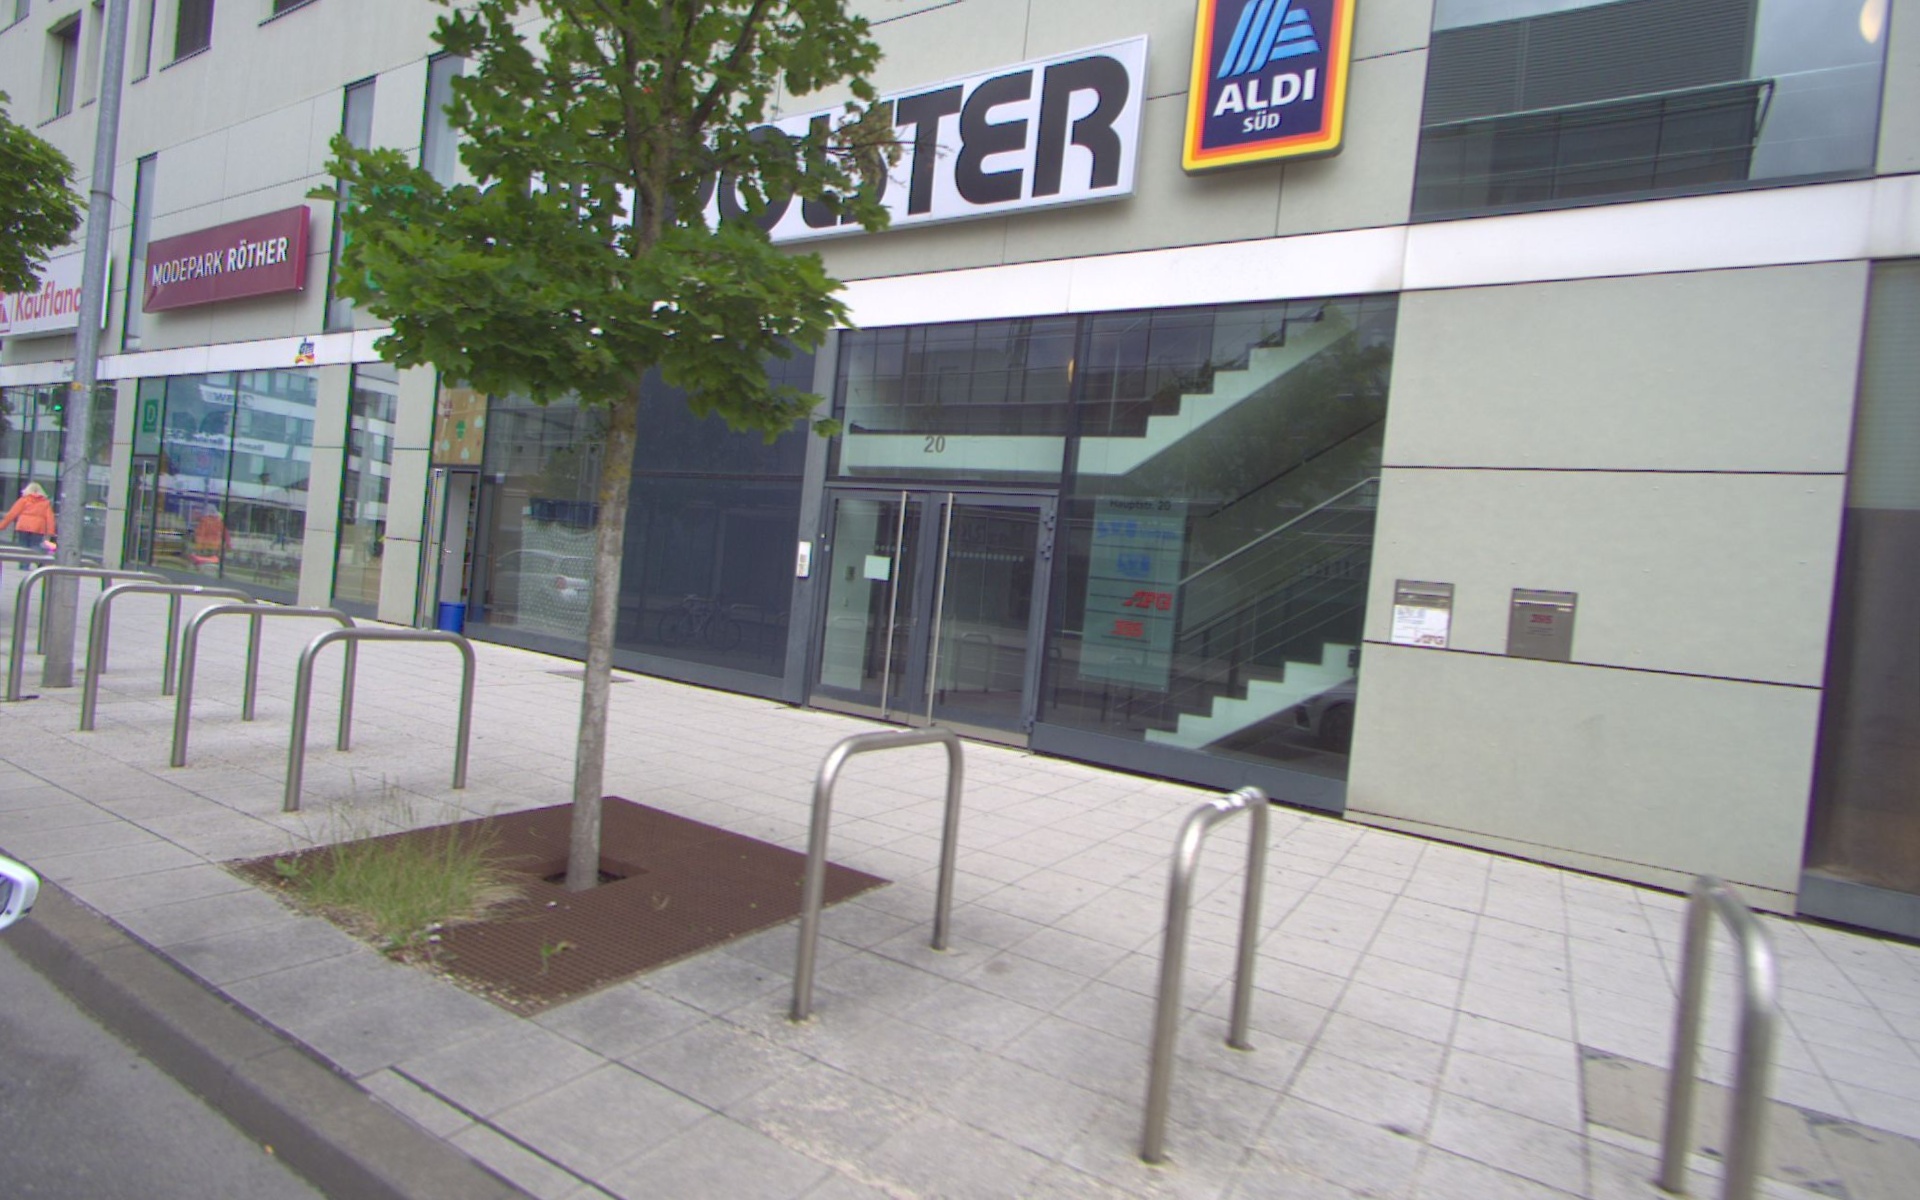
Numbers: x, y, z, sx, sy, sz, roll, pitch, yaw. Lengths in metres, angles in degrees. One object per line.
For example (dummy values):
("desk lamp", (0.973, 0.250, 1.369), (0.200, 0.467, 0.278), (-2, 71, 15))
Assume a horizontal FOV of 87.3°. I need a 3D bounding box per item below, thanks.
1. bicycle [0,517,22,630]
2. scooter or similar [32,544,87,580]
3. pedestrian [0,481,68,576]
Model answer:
("bicycle", (-10.072, -0.327, 9.326), (0.739, 1.088, 1.827), (7, 1, 30))
("scooter or similar", (-15.824, -0.665, 17.681), (0.632, 0.553, 0.550), (7, 3, 32))
("pedestrian", (-16.539, -1.262, 17.935), (0.799, 1.596, 0.710), (7, 4, 32))
